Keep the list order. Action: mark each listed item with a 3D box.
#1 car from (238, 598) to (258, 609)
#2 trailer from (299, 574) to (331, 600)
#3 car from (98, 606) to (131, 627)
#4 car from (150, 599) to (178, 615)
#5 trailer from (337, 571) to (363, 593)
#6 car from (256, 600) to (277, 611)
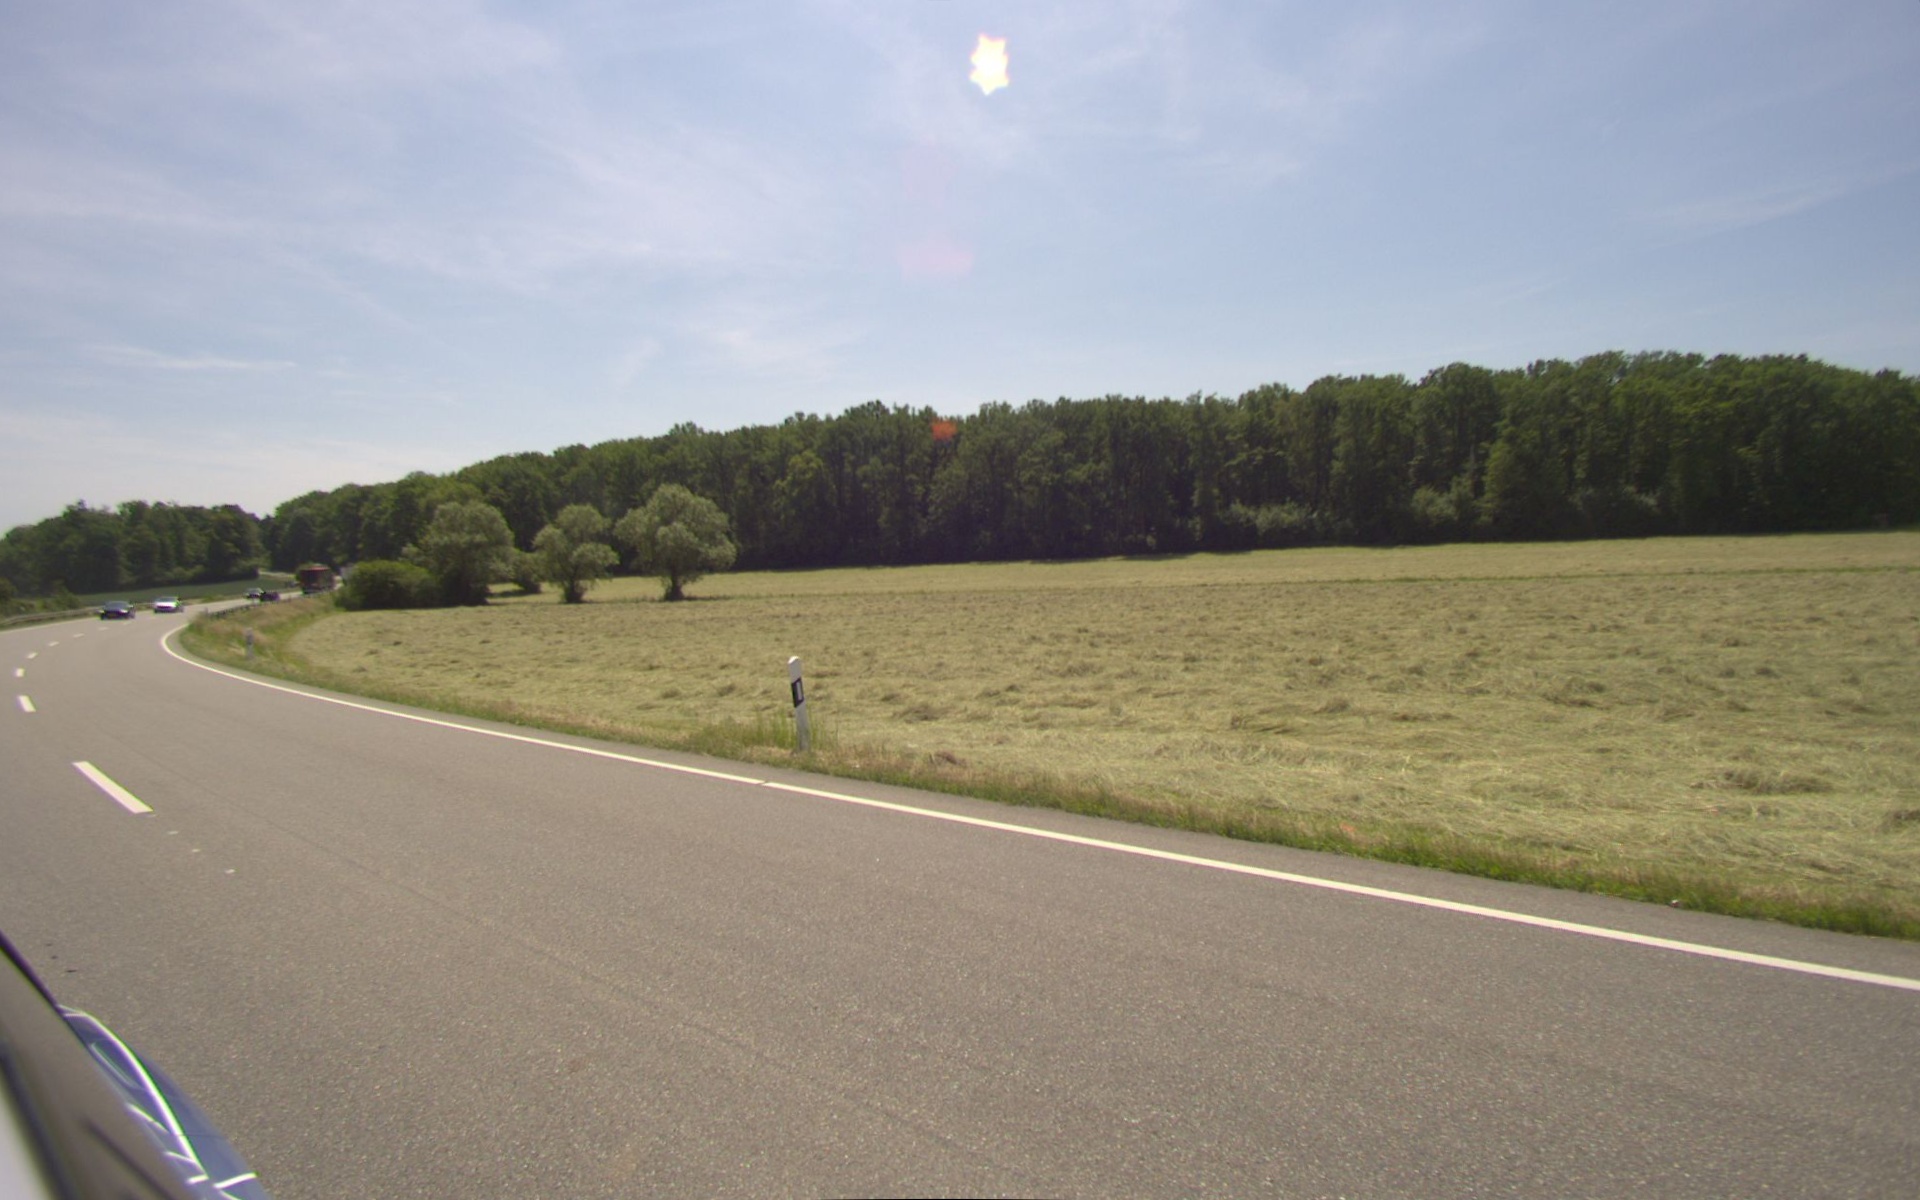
[{"bbox_3d":[-99.543,0.506,141.502,1.595,1.447,3.455,-2,2,-25],"label":"car"},{"bbox_3d":[-106.939,-2.172,168.014,3.195,4.181,14.491,0,1,-27],"label":"trailer"},{"bbox_3d":[-67.641,1.310,81.003,1.596,1.447,3.452,-2,2,-34],"label":"car"},{"bbox_3d":[-76.112,0.664,96.828,1.595,1.447,3.454,-2,2,-30],"label":"car"},{"bbox_3d":[-126.960,-3.859,210.688,3.326,4.433,13.792,0,1,-25],"label":"trailer"},{"bbox_3d":[-89.217,0.705,130.273,1.676,1.480,4.214,0,0,-27],"label":"car"}]
